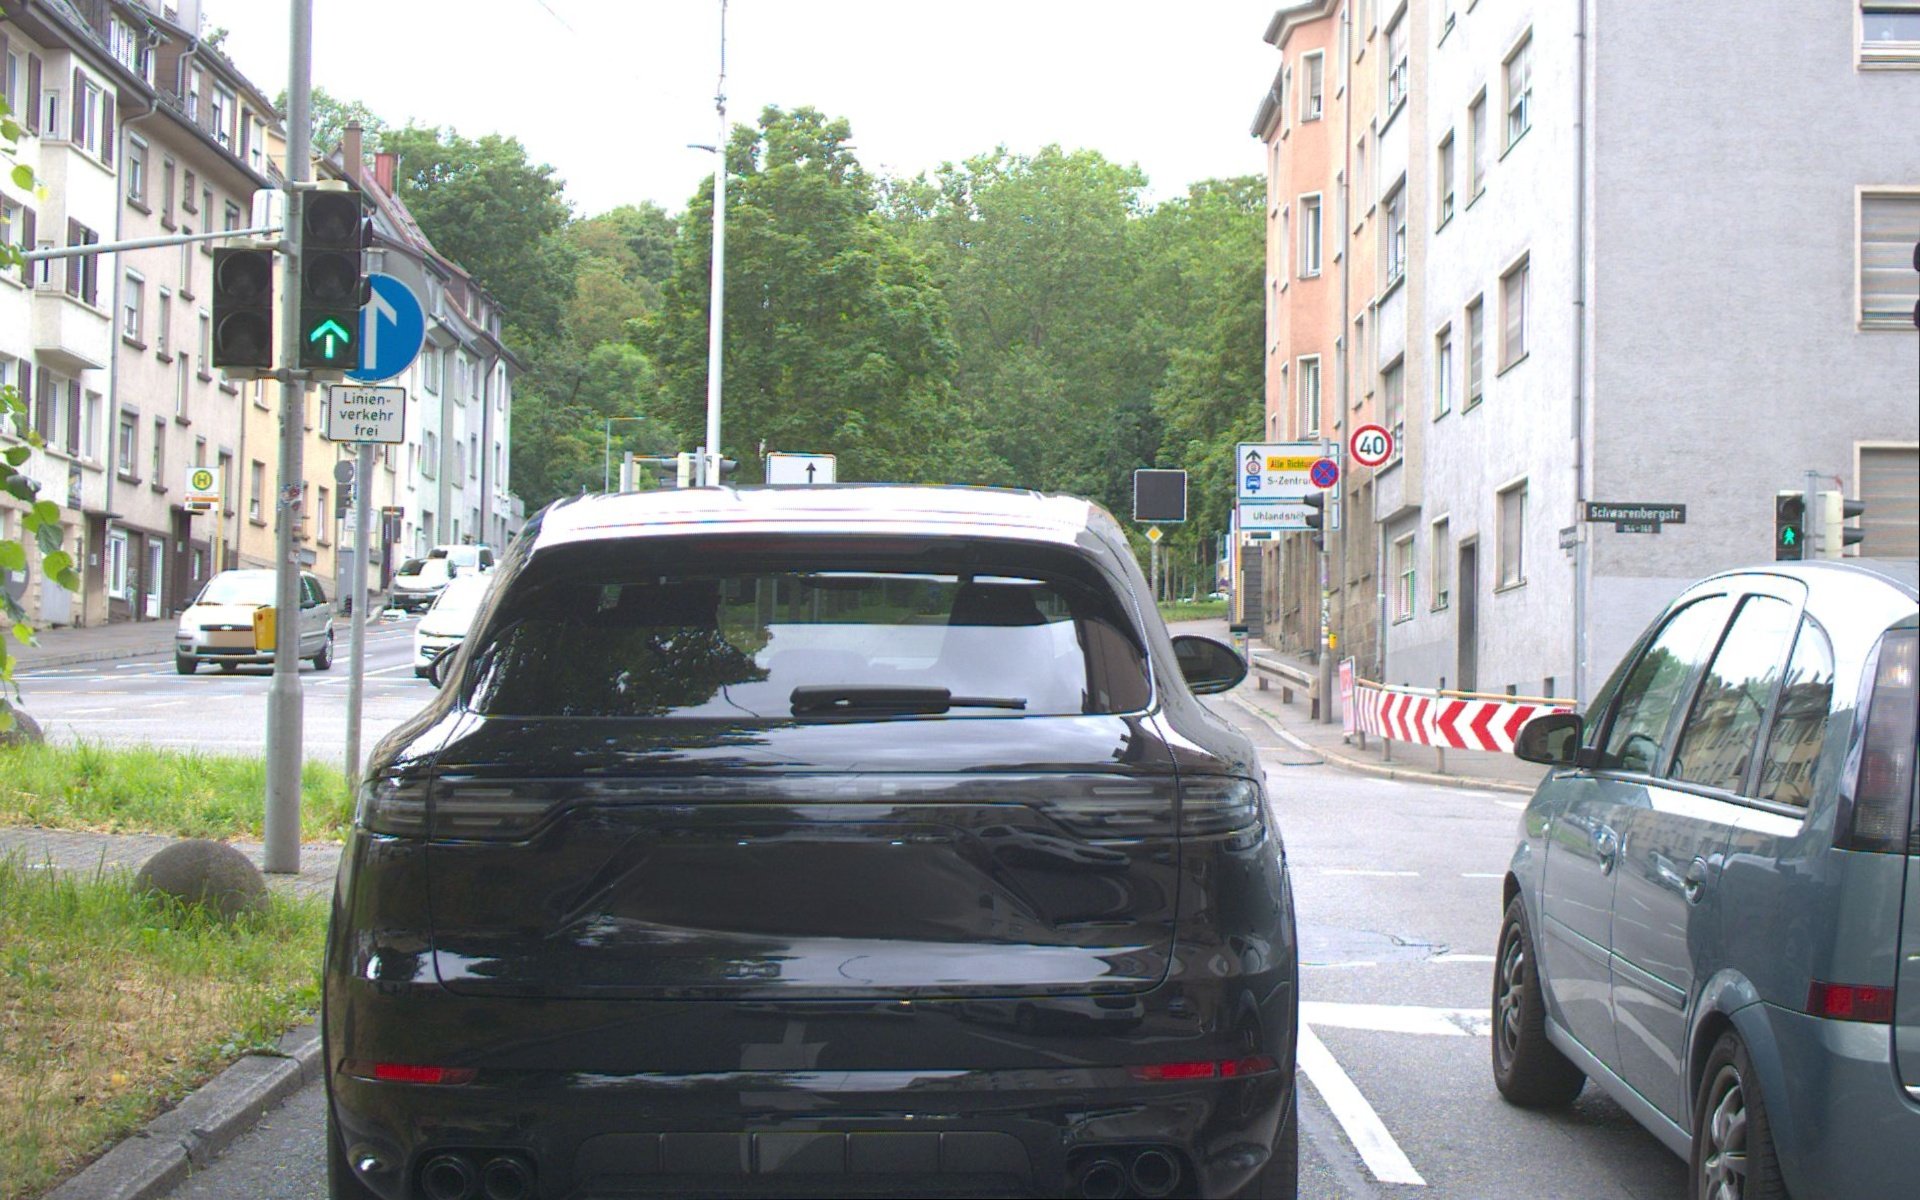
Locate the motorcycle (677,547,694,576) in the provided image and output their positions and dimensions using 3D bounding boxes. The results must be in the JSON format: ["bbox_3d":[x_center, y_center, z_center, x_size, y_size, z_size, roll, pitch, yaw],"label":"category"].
[{"bbox_3d":[-9.993,-1.390,125.136,0.511,1.037,1.389,1,1,0],"label":"motorcycle"}]

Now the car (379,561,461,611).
[{"bbox_3d":[-15.464,-0.405,98.644,1.739,1.382,3.814,1,1,0],"label":"car"}]

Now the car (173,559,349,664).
[{"bbox_3d":[-10.229,0.180,50.557,1.619,1.475,3.823,1,-1,3],"label":"car"}]

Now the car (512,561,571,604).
[{"bbox_3d":[-15.235,-0.654,125.261,1.689,1.533,3.814,1,1,0],"label":"car"}]

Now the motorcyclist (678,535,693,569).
[{"bbox_3d":[-9.988,-1.744,125.107,0.511,1.222,0.467,1,0,0],"label":"motorcyclist"}]

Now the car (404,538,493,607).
[{"bbox_3d":[-15.507,-0.835,104.449,2.016,2.038,4.667,1,1,0],"label":"car"}]

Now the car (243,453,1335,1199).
[{"bbox_3d":[-0.330,0.552,8.165,1.955,1.669,4.000,0,1,-1],"label":"car"}]

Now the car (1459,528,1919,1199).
[{"bbox_3d":[2.347,0.695,8.233,1.628,1.592,3.669,4,1,-1],"label":"car"}]

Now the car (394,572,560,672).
[{"bbox_3d":[-7.070,0.294,50.694,1.862,1.383,4.094,1,1,0],"label":"car"}]
